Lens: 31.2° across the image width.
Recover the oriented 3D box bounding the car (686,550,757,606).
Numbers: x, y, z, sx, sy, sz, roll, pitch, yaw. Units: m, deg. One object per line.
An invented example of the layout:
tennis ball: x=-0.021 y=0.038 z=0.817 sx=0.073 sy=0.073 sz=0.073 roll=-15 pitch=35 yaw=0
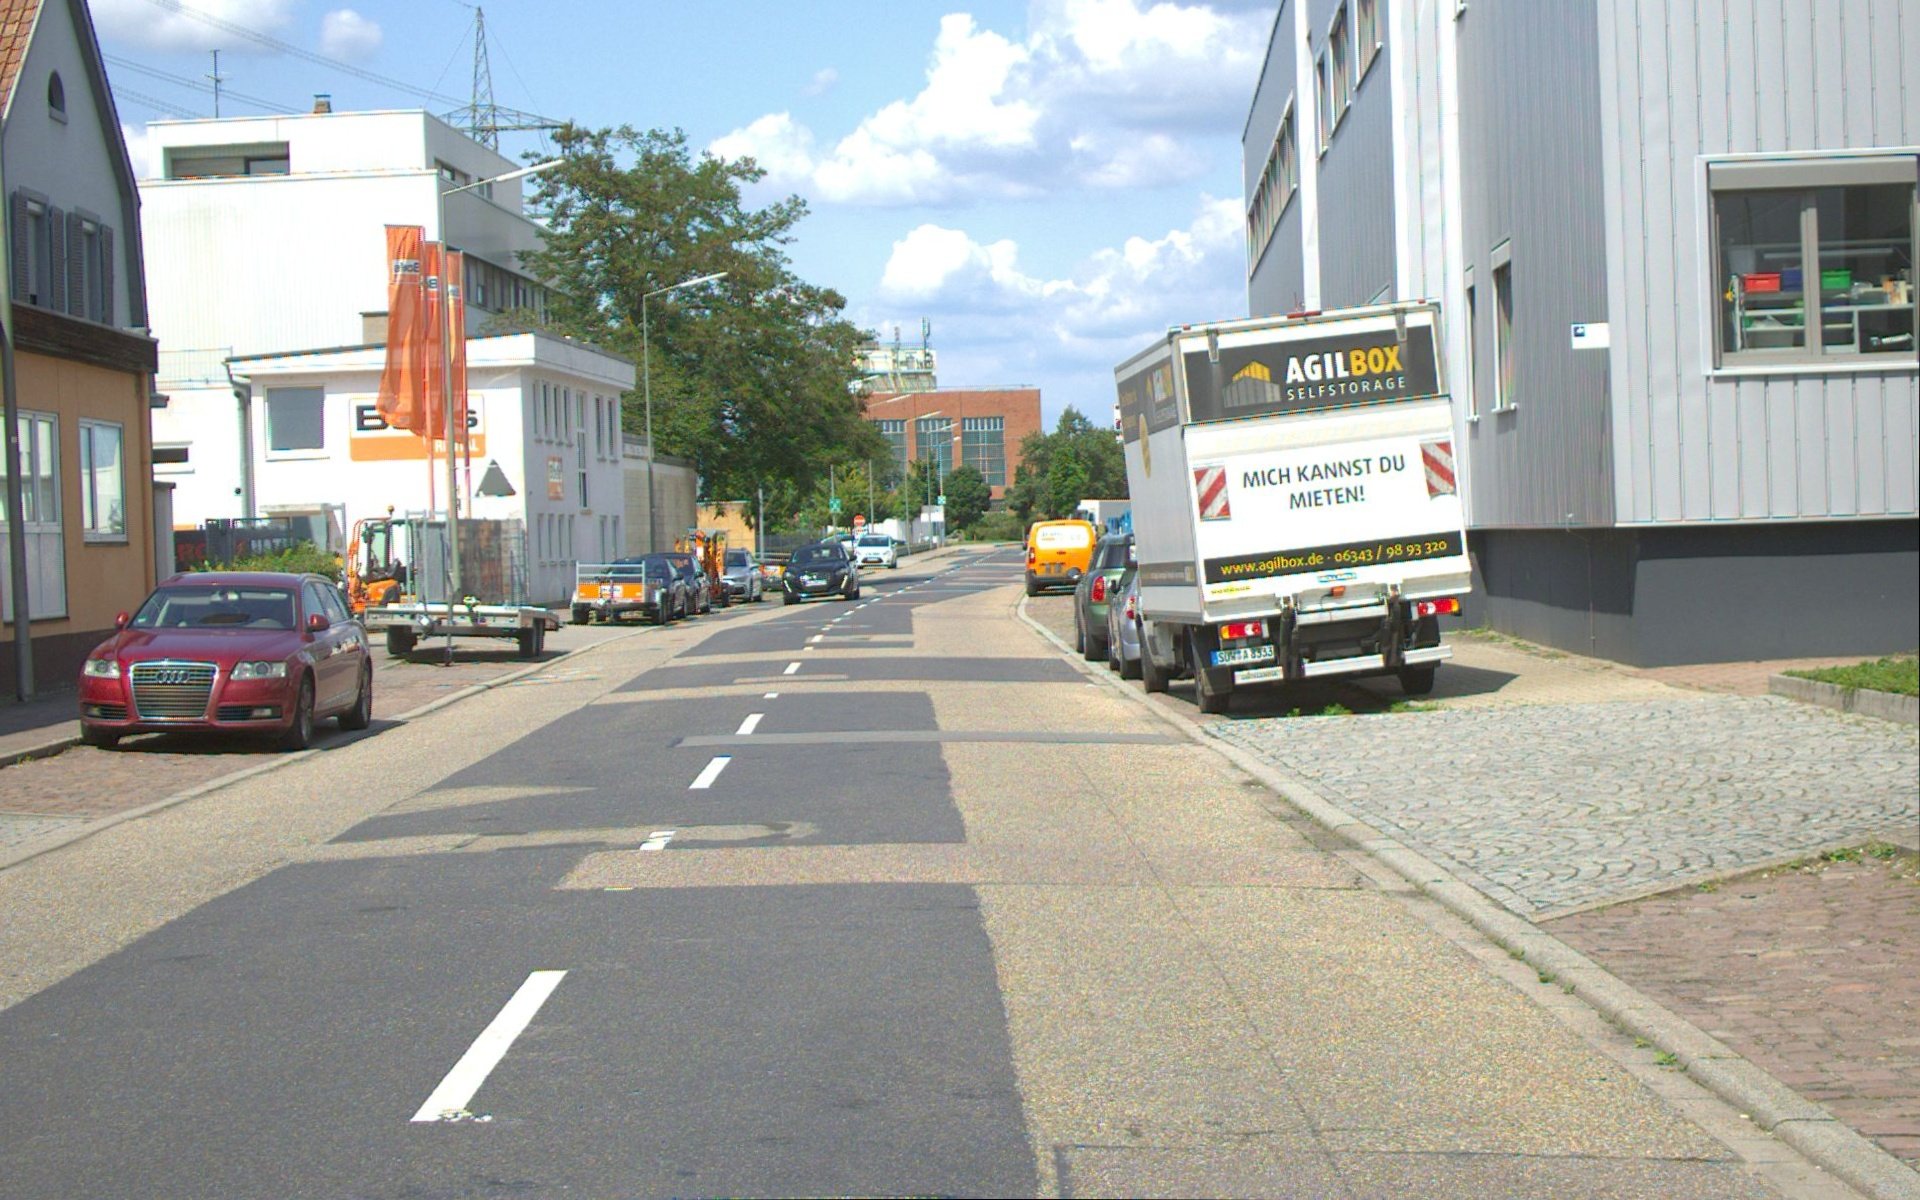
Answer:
car: x=-6.275 y=-0.593 z=90.712 sx=1.668 sy=1.442 sz=3.454 roll=0 pitch=1 yaw=0

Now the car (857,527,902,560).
car: x=-3.784 y=-2.654 z=162.293 sx=1.810 sy=1.558 sz=4.000 roll=0 pitch=1 yaw=3

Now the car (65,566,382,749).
car: x=-6.266 y=0.437 z=29.747 sx=1.762 sy=1.442 sz=4.741 roll=0 pitch=1 yaw=0

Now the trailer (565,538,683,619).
trailer: x=-6.784 y=-0.462 z=69.779 sx=1.993 sy=1.551 sz=4.254 roll=-1 pitch=1 yaw=-1

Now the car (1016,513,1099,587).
car: x=2.438 y=-1.249 z=85.673 sx=1.940 sy=1.736 sz=4.376 roll=-2 pitch=1 yaw=2

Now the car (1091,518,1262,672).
car: x=2.366 y=-0.093 z=38.374 sx=1.567 sy=1.568 sz=4.069 roll=-2 pitch=1 yaw=0

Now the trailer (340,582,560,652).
trailer: x=-7.117 y=0.218 z=48.604 sx=2.362 sy=0.890 sz=5.569 roll=0 pitch=1 yaw=-1

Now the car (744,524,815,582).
car: x=-5.680 y=-1.492 z=108.456 sx=1.922 sy=1.788 sz=4.000 roll=0 pitch=1 yaw=2

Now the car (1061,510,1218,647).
car: x=2.234 y=-0.280 z=43.636 sx=1.768 sy=1.607 sz=3.873 roll=-2 pitch=1 yaw=0

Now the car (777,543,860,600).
car: x=-3.447 y=-0.723 z=84.146 sx=1.918 sy=1.280 sz=3.615 roll=-2 pitch=1 yaw=-1

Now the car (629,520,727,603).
car: x=-6.958 y=-0.965 z=85.191 sx=1.993 sy=2.007 sz=4.000 roll=0 pitch=1 yaw=2

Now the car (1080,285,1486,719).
car: x=2.747 y=-0.839 z=31.263 sx=2.388 sy=3.351 sz=6.646 roll=-5 pitch=1 yaw=-4
